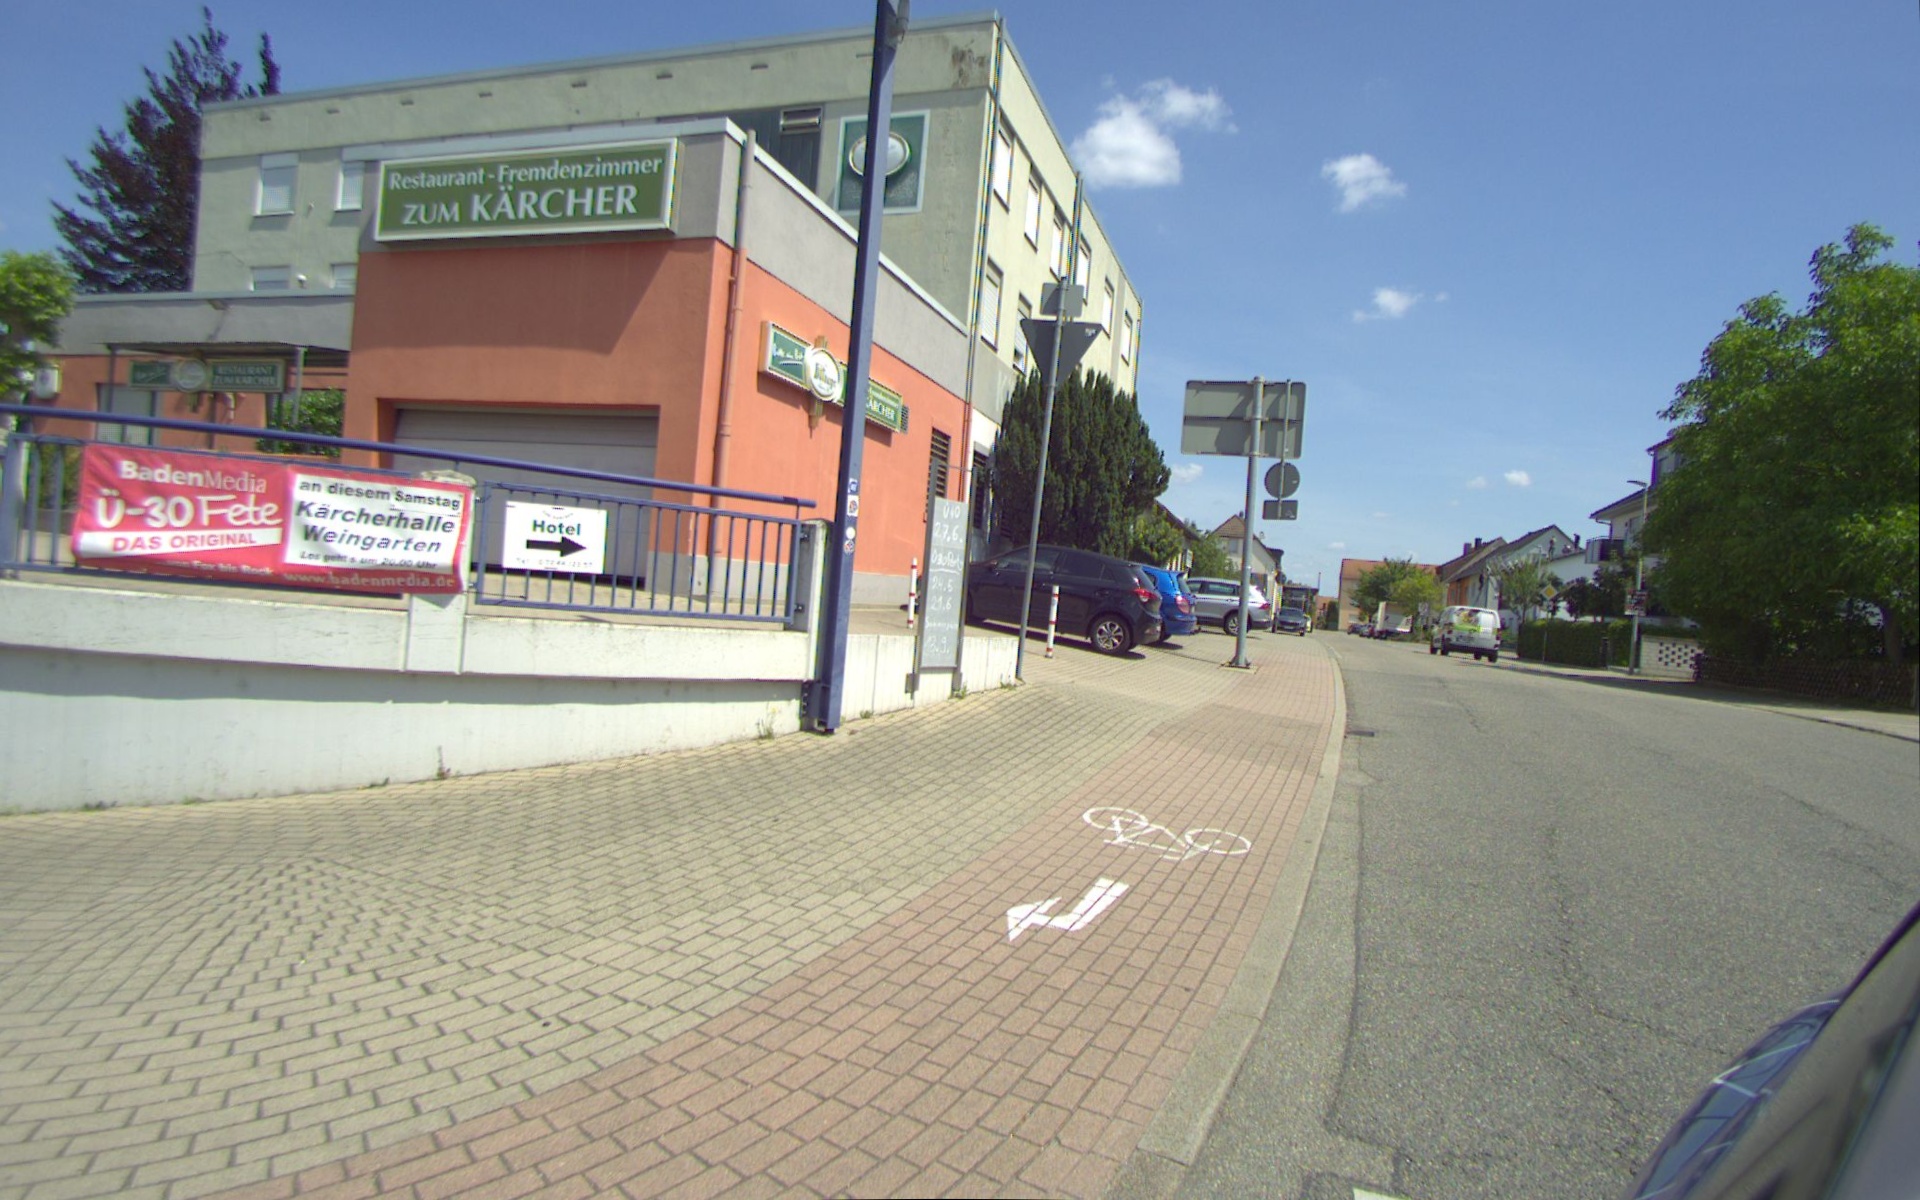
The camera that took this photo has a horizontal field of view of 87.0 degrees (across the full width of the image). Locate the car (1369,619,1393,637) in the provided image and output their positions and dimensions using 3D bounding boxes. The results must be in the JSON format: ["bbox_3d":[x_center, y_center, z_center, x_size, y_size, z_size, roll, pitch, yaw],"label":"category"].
[{"bbox_3d":[40.945,2.684,98.517,1.701,1.518,4.189,7,1,18],"label":"car"}]

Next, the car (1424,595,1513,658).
[{"bbox_3d":[18.365,0.929,36.739,1.794,1.877,4.536,8,1,15],"label":"car"}]

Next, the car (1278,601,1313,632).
[{"bbox_3d":[18.333,0.911,55.447,1.612,1.507,4.115,6,1,17],"label":"car"}]

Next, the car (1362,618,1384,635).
[{"bbox_3d":[42.730,2.766,104.766,1.701,1.518,4.189,7,1,18],"label":"car"}]

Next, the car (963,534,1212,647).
[{"bbox_3d":[2.428,-0.228,19.187,4.285,1.456,1.769,9,4,19],"label":"car"}]

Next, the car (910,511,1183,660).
[{"bbox_3d":[1.411,-0.270,16.104,3.863,1.506,1.800,12,4,18],"label":"car"}]

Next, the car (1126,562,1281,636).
[{"bbox_3d":[7.589,-0.032,31.470,4.411,1.717,1.911,7,1,18],"label":"car"}]

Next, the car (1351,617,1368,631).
[{"bbox_3d":[52.567,3.172,133.212,1.701,1.518,4.189,7,1,18],"label":"car"}]

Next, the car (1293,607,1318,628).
[{"bbox_3d":[28.393,1.421,83.241,1.702,1.414,4.188,9,2,19],"label":"car"}]

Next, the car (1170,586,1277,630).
[{"bbox_3d":[12.043,0.365,46.239,4.488,1.471,1.905,7,1,20],"label":"car"}]

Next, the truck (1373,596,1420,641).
[{"bbox_3d":[36.698,1.547,85.314,2.415,3.284,6.998,8,1,16],"label":"truck"}]
